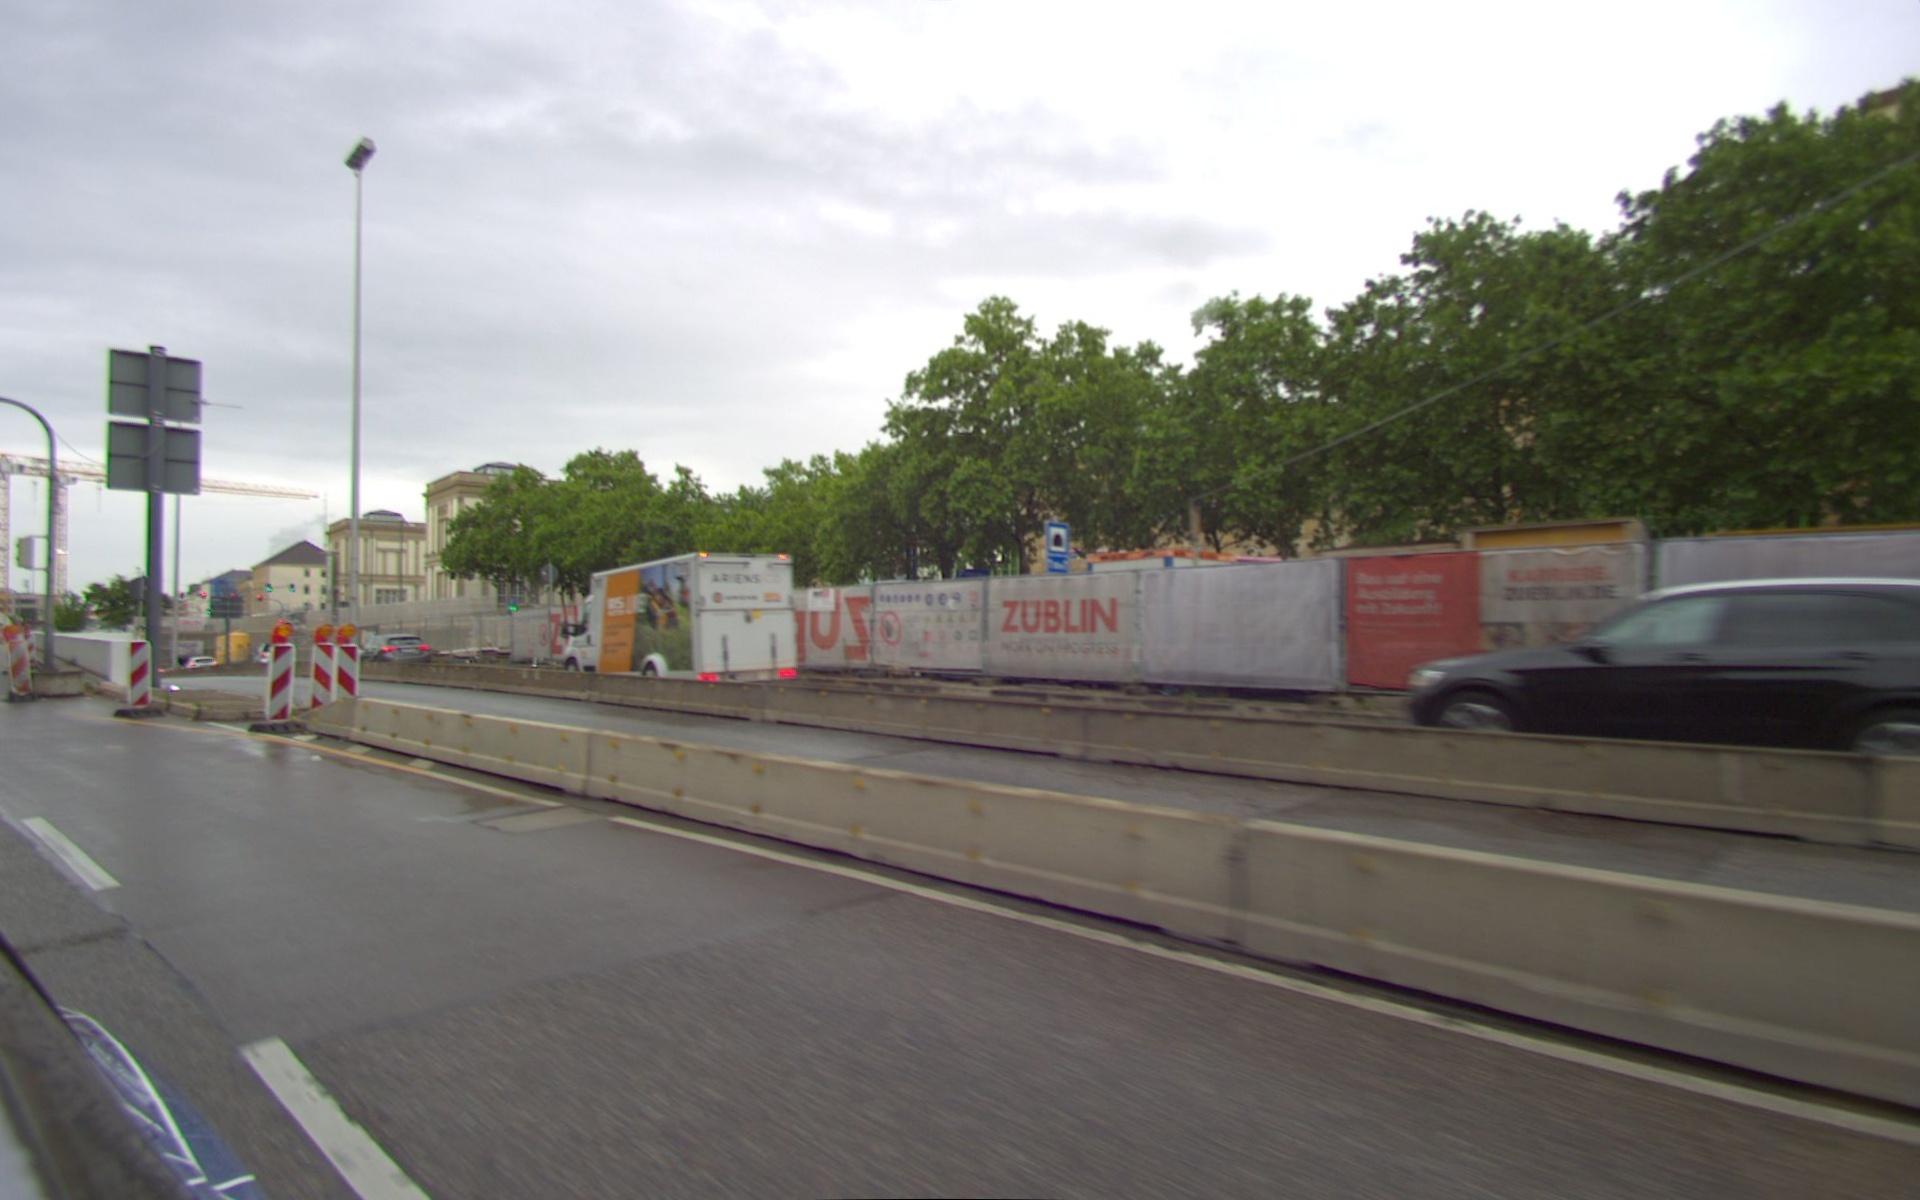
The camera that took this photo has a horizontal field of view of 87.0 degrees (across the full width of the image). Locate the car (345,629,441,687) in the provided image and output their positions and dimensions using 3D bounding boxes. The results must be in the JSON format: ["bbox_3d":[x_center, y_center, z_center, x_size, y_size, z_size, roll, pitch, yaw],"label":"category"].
[{"bbox_3d":[-21.425,2.144,38.130,4.761,2.029,1.886,-1,-3,45],"label":"car"}]

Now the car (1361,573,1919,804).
[{"bbox_3d":[6.052,0.652,8.303,4.756,1.542,1.901,-3,-3,40],"label":"car"}]

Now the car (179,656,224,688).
[{"bbox_3d":[-51.169,4.823,68.226,1.876,2.029,4.003,2,-3,-44],"label":"car"}]

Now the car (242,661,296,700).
[{"bbox_3d":[-35.652,4.116,52.187,3.359,1.882,1.681,-2,-3,44],"label":"car"}]

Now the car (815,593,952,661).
[{"bbox_3d":[-2.575,0.924,32.865,1.969,2.029,4.723,1,-4,-41],"label":"car"}]

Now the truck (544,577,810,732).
[{"bbox_3d":[-6.246,1.111,21.401,2.369,2.740,7.363,1,-3,-42],"label":"truck"}]
